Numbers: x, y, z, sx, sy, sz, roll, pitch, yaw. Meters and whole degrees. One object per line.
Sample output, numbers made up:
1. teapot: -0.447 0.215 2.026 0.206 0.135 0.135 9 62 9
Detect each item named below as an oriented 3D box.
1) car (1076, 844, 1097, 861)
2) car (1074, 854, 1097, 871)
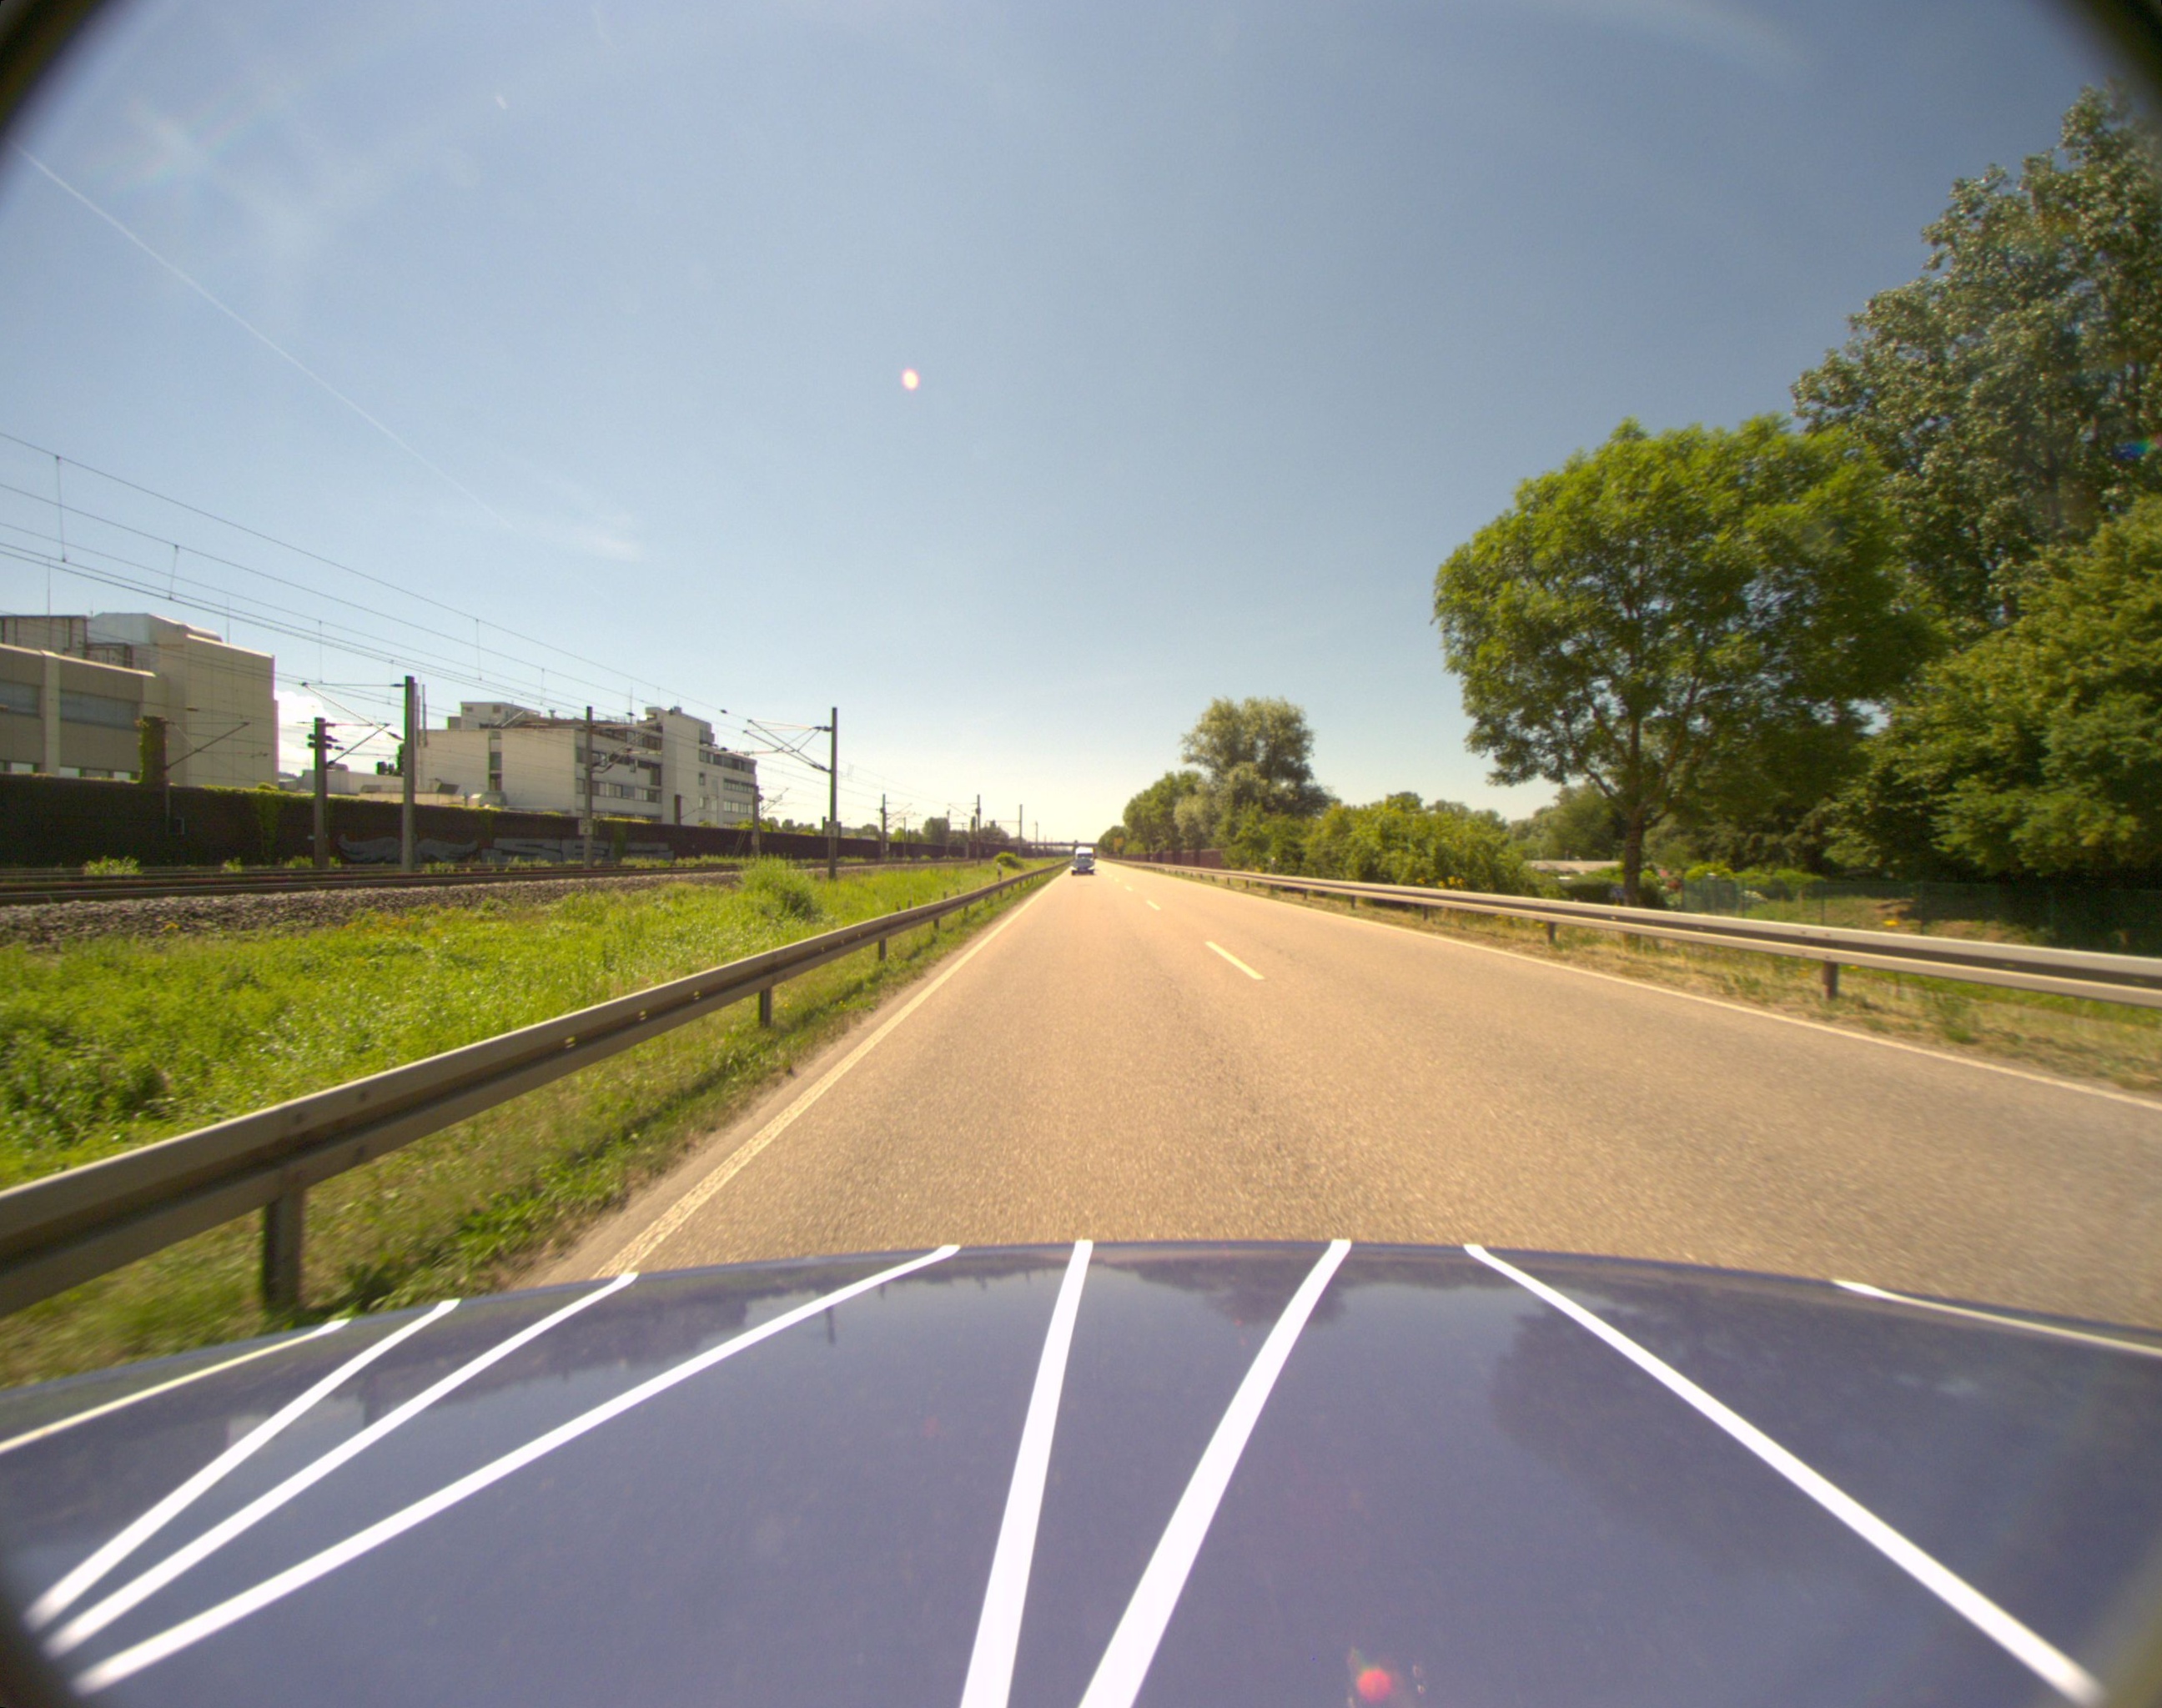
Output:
1. car: 0.619 -0.169 85.174 2.161 1.701 4.492 -2 0 0
2. car: 0.339 0.676 62.336 1.758 1.313 4.000 -2 0 0
